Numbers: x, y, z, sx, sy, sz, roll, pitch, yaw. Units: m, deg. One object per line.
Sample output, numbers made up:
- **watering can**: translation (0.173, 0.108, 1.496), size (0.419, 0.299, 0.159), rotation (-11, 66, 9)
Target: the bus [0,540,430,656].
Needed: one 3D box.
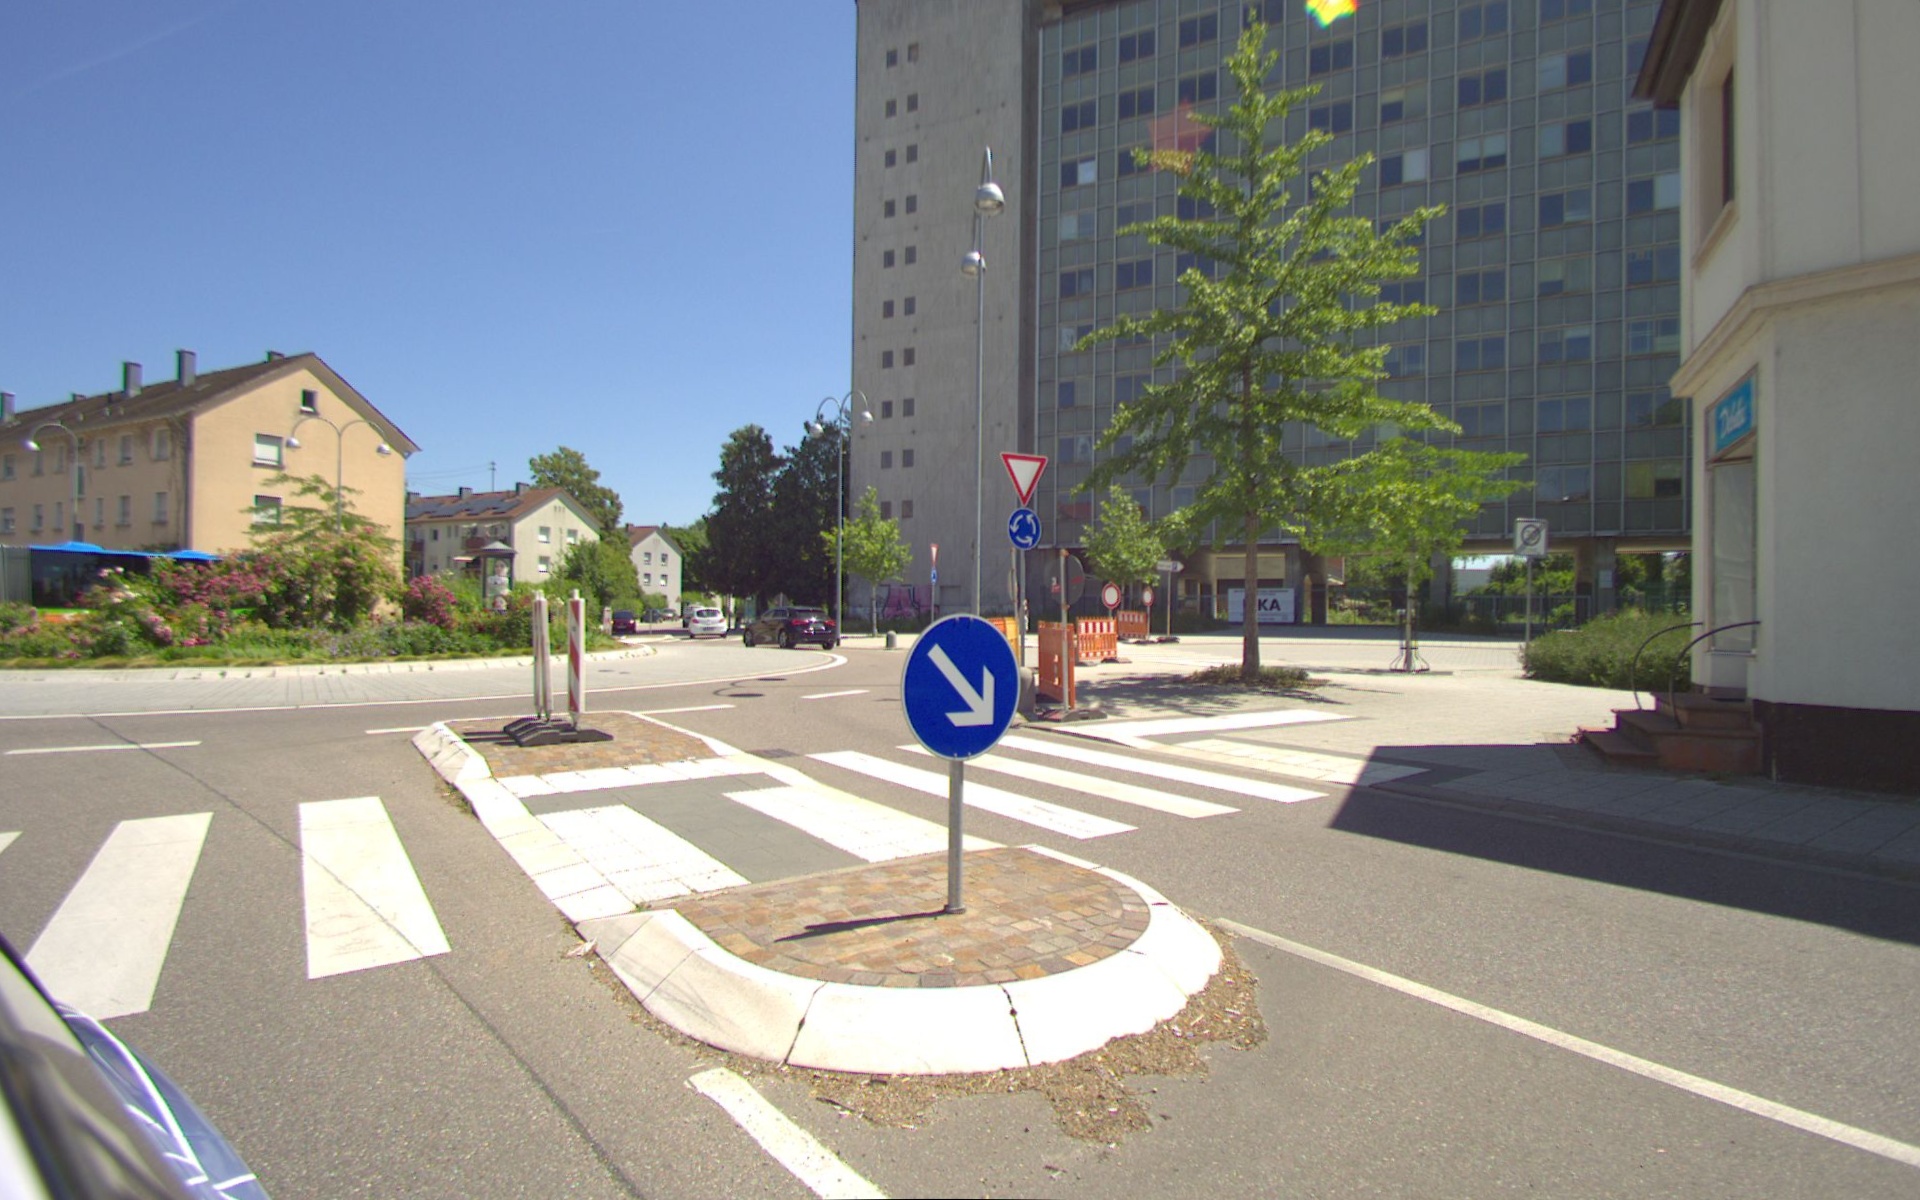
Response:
- **bus**: translation (-23.981, -0.001, 33.185), size (2.915, 3.085, 12.453), rotation (-2, -1, 25)

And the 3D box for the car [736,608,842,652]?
- **car**: translation (-5.757, 0.986, 33.707), size (1.704, 1.305, 4.008), rotation (3, -1, -39)

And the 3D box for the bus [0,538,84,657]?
- **bus**: translation (-26.437, -0.083, 22.529), size (2.873, 3.104, 12.557), rotation (-1, -1, 1)

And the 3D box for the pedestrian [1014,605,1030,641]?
- **pedestrian**: translation (2.523, 0.920, 41.080), size (0.560, 1.440, 0.426), rotation (0, -1, 23)

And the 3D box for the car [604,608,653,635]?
- **car**: translation (-20.767, 1.317, 63.518), size (1.713, 1.613, 3.934), rotation (-1, -1, 2)

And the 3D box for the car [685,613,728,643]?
- **car**: translation (-12.121, 1.327, 48.561), size (1.756, 1.366, 4.062), rotation (1, -2, -11)
